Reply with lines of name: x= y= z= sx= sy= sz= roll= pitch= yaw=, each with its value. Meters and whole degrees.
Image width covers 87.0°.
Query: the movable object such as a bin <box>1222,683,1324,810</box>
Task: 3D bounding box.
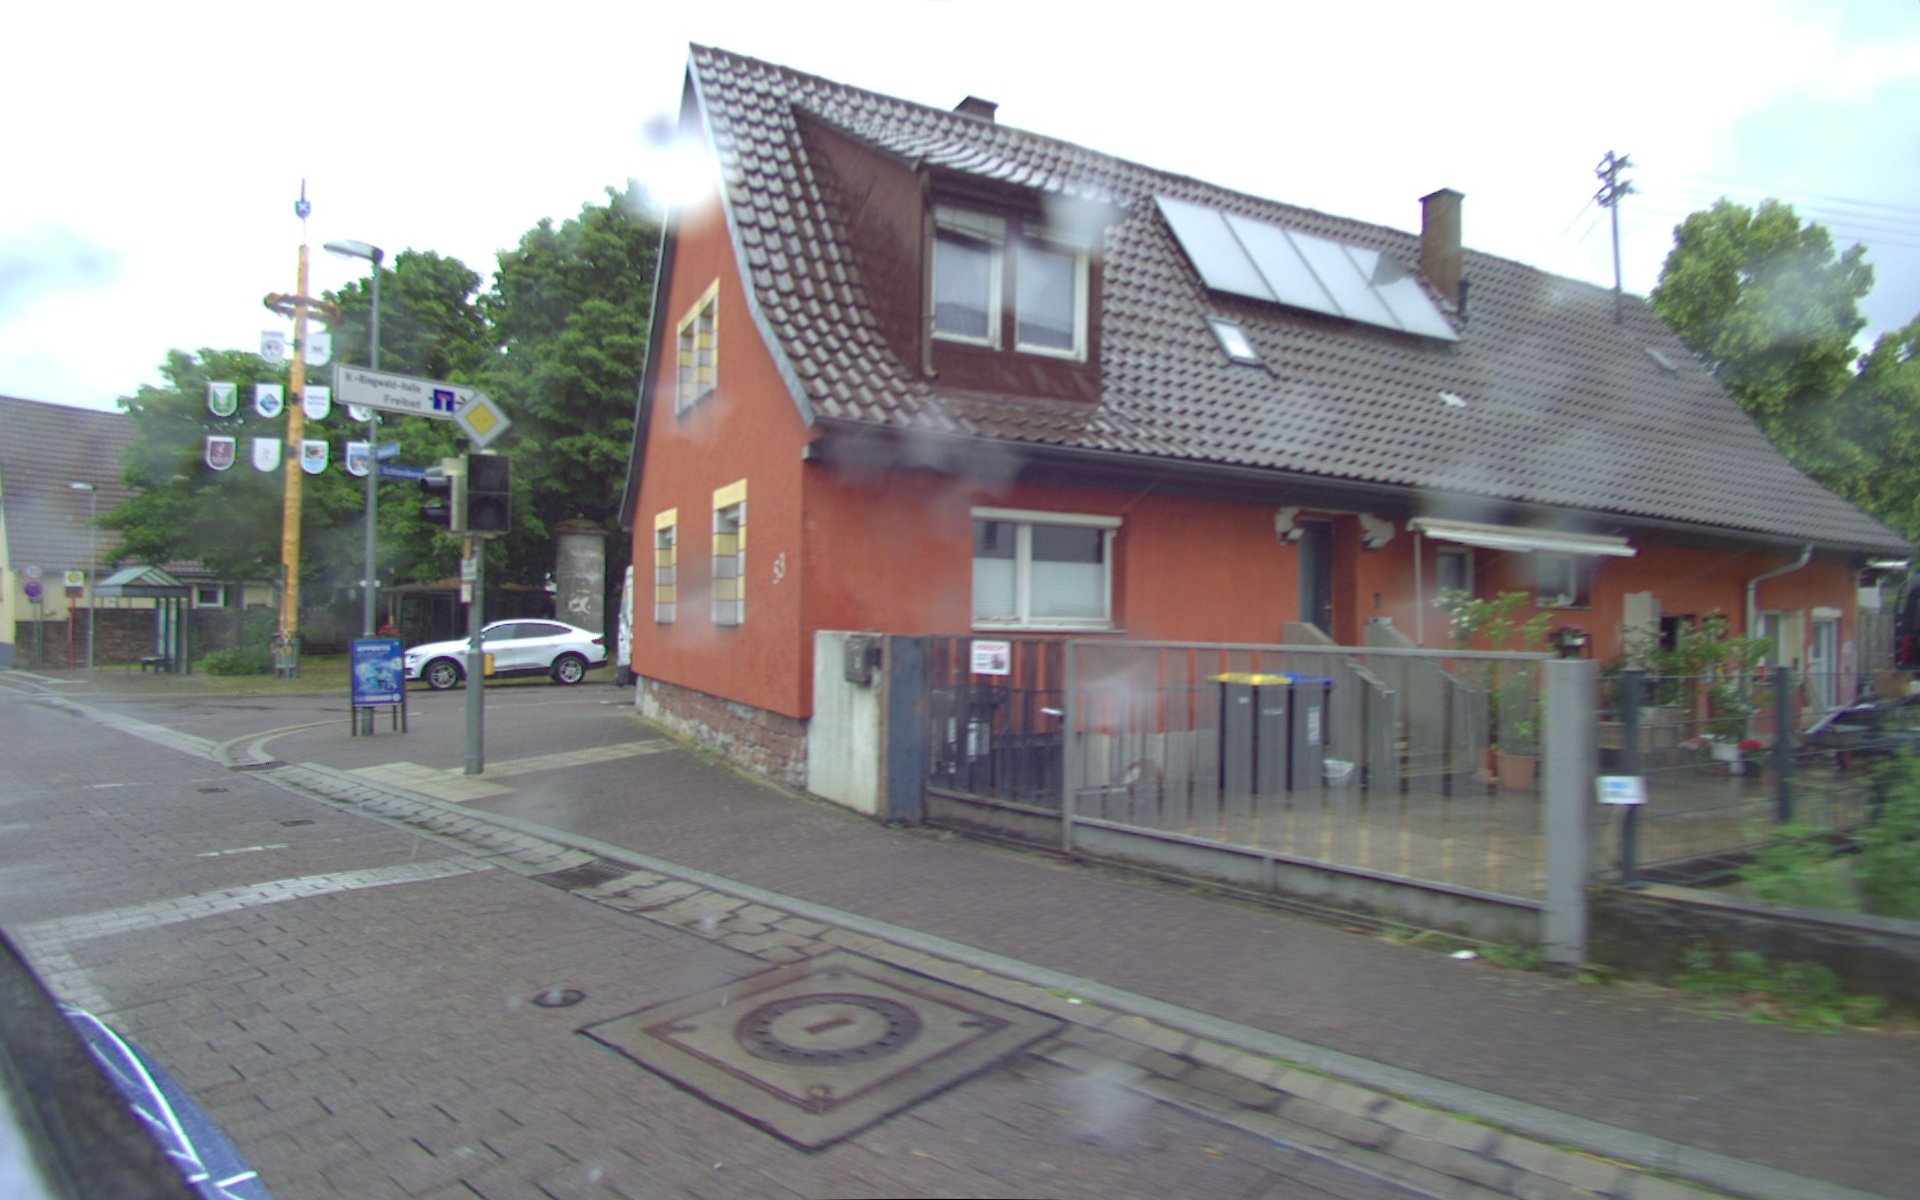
movable object such as a bin: x=2.847 y=1.303 z=9.213 sx=0.637 sy=1.064 sz=0.622 roll=2 pitch=-3 yaw=-31

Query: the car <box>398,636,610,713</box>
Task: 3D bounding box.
car: x=-10.691 y=1.681 z=23.829 sx=4.383 sy=1.561 sz=1.888 roll=0 pitch=-2 yaw=-28

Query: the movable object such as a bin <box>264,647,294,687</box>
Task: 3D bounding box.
movable object such as a bin: x=-20.642 y=2.022 z=30.674 sx=0.604 sy=1.155 sz=0.556 roll=0 pitch=-1 yaw=39

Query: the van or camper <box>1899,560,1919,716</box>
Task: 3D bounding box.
van or camper: x=20.207 y=0.703 z=17.309 sx=2.168 sy=2.986 sz=5.735 roll=2 pitch=-2 yaw=-17

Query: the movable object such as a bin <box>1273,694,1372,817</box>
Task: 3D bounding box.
movable object such as a bin: x=3.434 y=1.445 z=9.594 sx=0.637 sy=1.064 sz=0.622 roll=2 pitch=-3 yaw=-31

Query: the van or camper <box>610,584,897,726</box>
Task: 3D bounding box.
van or camper: x=-3.986 y=1.024 z=19.517 sx=5.069 sy=2.454 sz=2.218 roll=1 pitch=-3 yaw=-23

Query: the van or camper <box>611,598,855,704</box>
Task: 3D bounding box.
van or camper: x=-5.769 y=1.201 z=25.835 sx=5.775 sy=2.492 sz=2.162 roll=0 pitch=-1 yaw=-23

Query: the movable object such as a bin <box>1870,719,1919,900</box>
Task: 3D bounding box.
movable object such as a bin: x=6.244 y=1.318 z=6.288 sx=0.603 sy=1.063 sz=0.677 roll=-1 pitch=-1 yaw=-27
